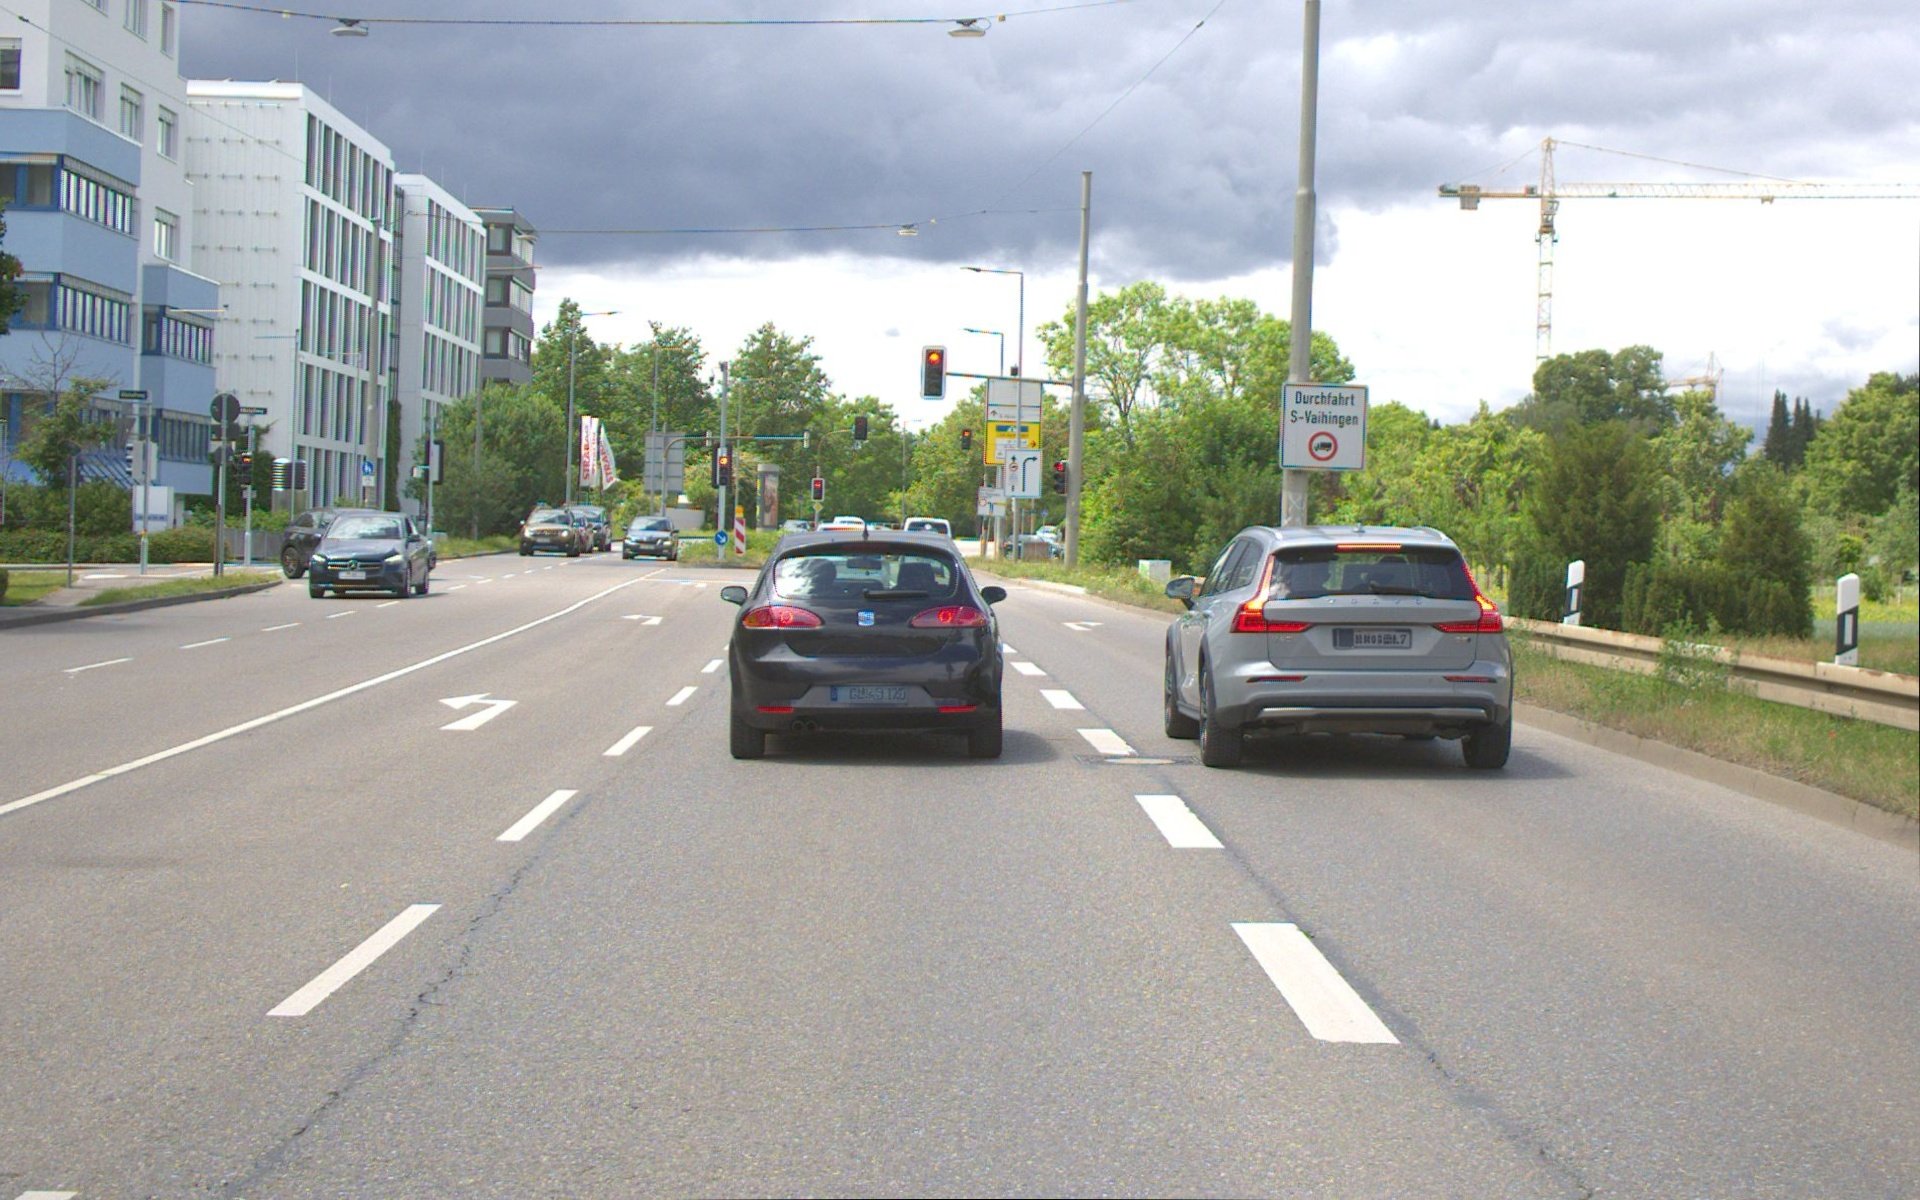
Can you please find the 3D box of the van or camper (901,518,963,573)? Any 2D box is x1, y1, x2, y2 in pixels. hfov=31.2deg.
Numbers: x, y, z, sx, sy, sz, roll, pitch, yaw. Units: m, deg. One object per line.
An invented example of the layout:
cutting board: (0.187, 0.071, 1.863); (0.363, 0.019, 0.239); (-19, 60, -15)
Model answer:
van or camper: (-1.053, -2.014, 127.478); (1.899, 1.919, 4.001); (3, 1, -5)

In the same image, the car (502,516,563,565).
car: (-14.372, -2.024, 115.794); (1.751, 1.625, 4.001); (0, 1, -3)

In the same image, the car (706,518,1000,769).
car: (-0.632, 0.234, 22.906); (1.748, 1.478, 4.000); (2, 1, 1)

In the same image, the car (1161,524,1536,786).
car: (2.386, 0.292, 22.179); (1.958, 1.520, 4.340); (0, 1, 1)

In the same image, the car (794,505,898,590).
car: (-2.412, -1.116, 71.586); (1.983, 1.584, 4.227); (2, 2, -4)

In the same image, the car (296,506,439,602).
car: (-10.885, -0.849, 63.409); (1.796, 1.579, 4.313); (4, 1, 0)

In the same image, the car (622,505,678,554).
car: (-10.322, -2.373, 114.691); (1.668, 1.519, 4.009); (0, 3, -3)
